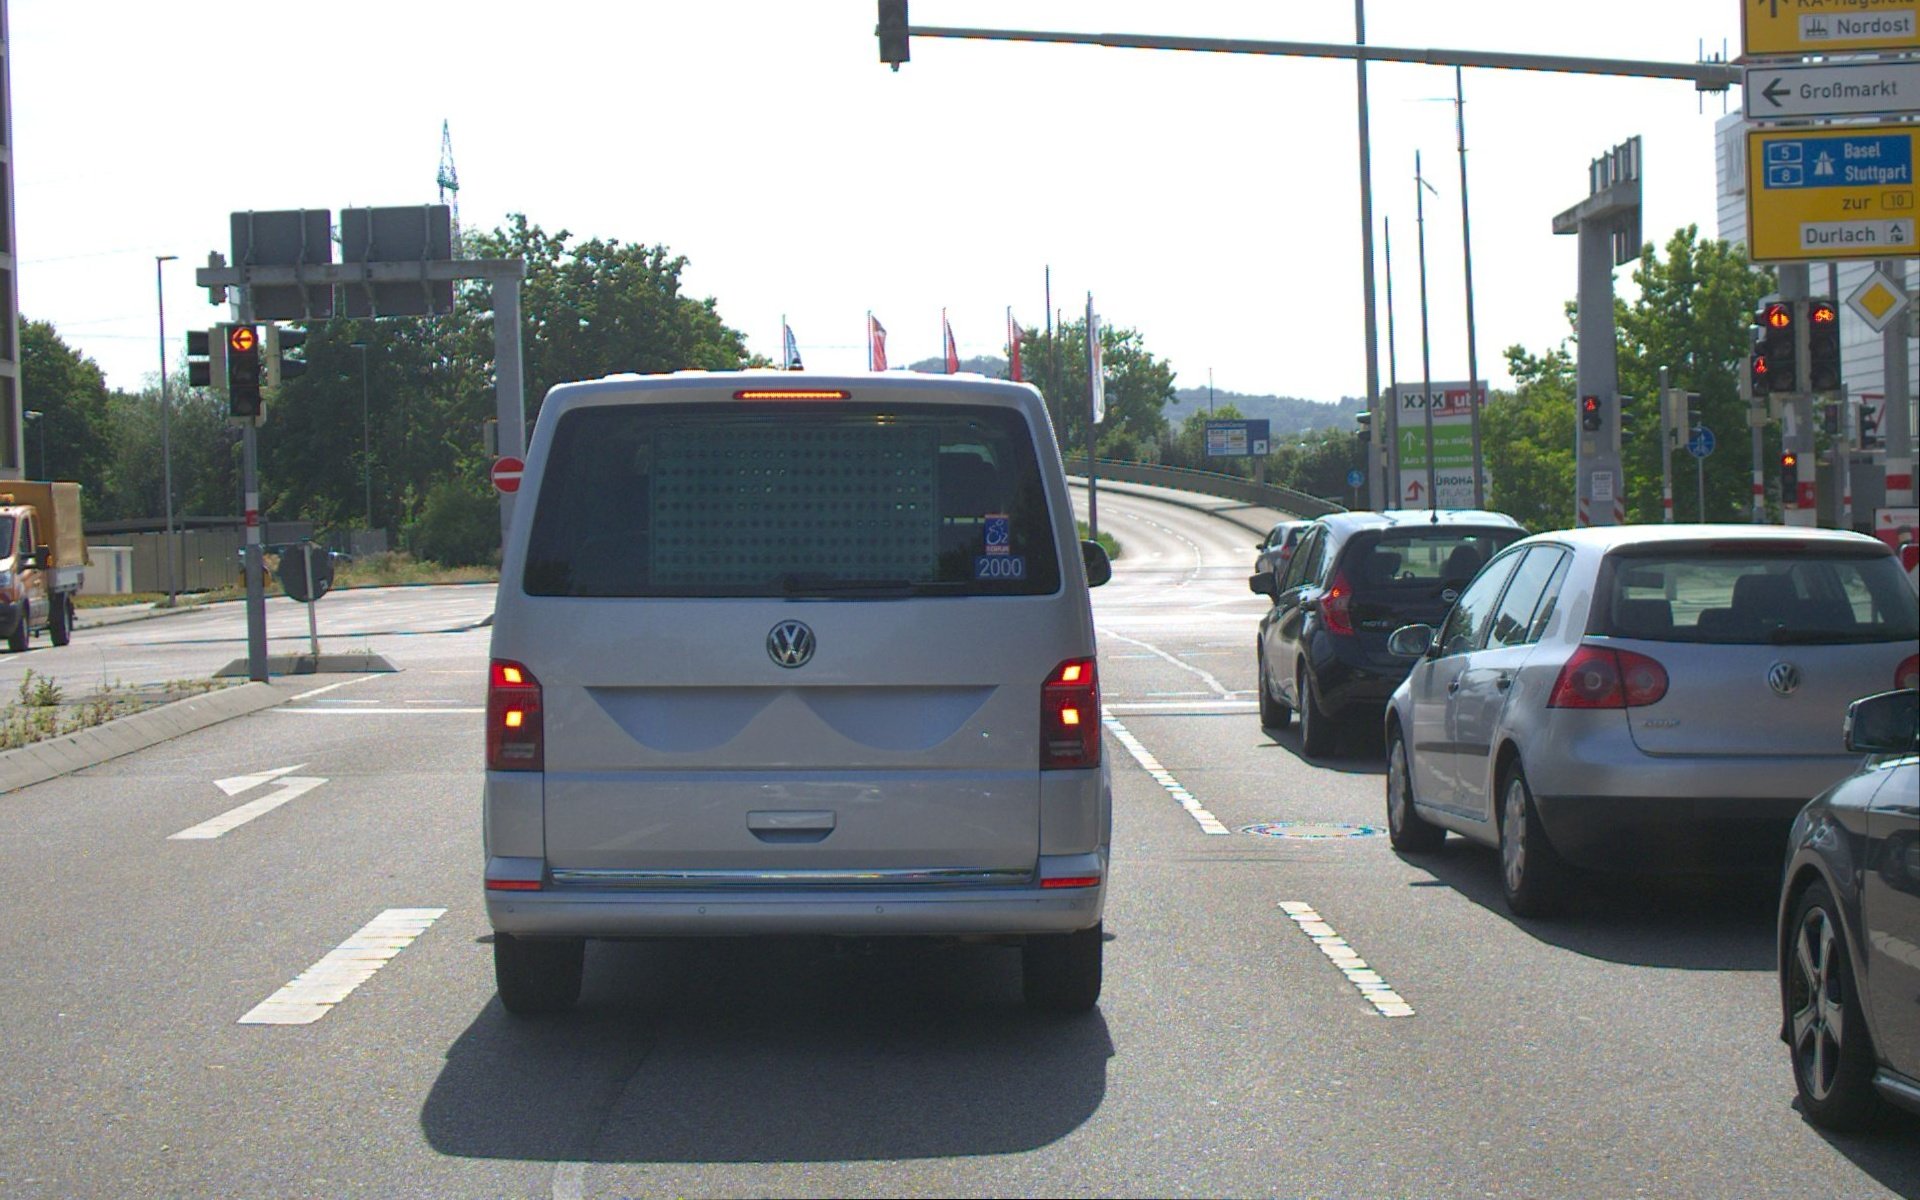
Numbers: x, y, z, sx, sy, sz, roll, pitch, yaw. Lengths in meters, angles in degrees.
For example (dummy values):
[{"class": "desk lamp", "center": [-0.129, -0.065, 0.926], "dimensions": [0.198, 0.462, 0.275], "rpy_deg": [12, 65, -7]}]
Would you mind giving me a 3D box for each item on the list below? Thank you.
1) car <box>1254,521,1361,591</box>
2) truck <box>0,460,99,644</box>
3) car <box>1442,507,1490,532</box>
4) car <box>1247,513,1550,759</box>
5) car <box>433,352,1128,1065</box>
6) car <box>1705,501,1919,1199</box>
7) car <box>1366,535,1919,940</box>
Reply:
[{"class": "car", "center": [7.413, -0.961, 73.580], "dimensions": [1.530, 1.433, 3.248], "rpy_deg": [-2, 1, -8]}, {"class": "truck", "center": [-14.769, -0.736, 52.400], "dimensions": [2.374, 2.616, 6.675], "rpy_deg": [-2, 2, -8]}, {"class": "car", "center": [32.570, -5.171, 221.325], "dimensions": [1.883, 1.514, 4.001], "rpy_deg": [1, 1, -9]}, {"class": "car", "center": [2.795, 0.174, 22.523], "dimensions": [1.531, 1.474, 3.596], "rpy_deg": [0, 1, 0]}, {"class": "car", "center": [-0.517, 0.246, 11.652], "dimensions": [1.917, 1.968, 4.297], "rpy_deg": [0, 1, -1]}, {"class": "car", "center": [2.907, 0.573, 7.023], "dimensions": [1.773, 1.533, 4.138], "rpy_deg": [-1, 2, -1]}, {"class": "car", "center": [2.775, 0.454, 14.081], "dimensions": [1.666, 1.409, 3.683], "rpy_deg": [0, 1, -2]}]
